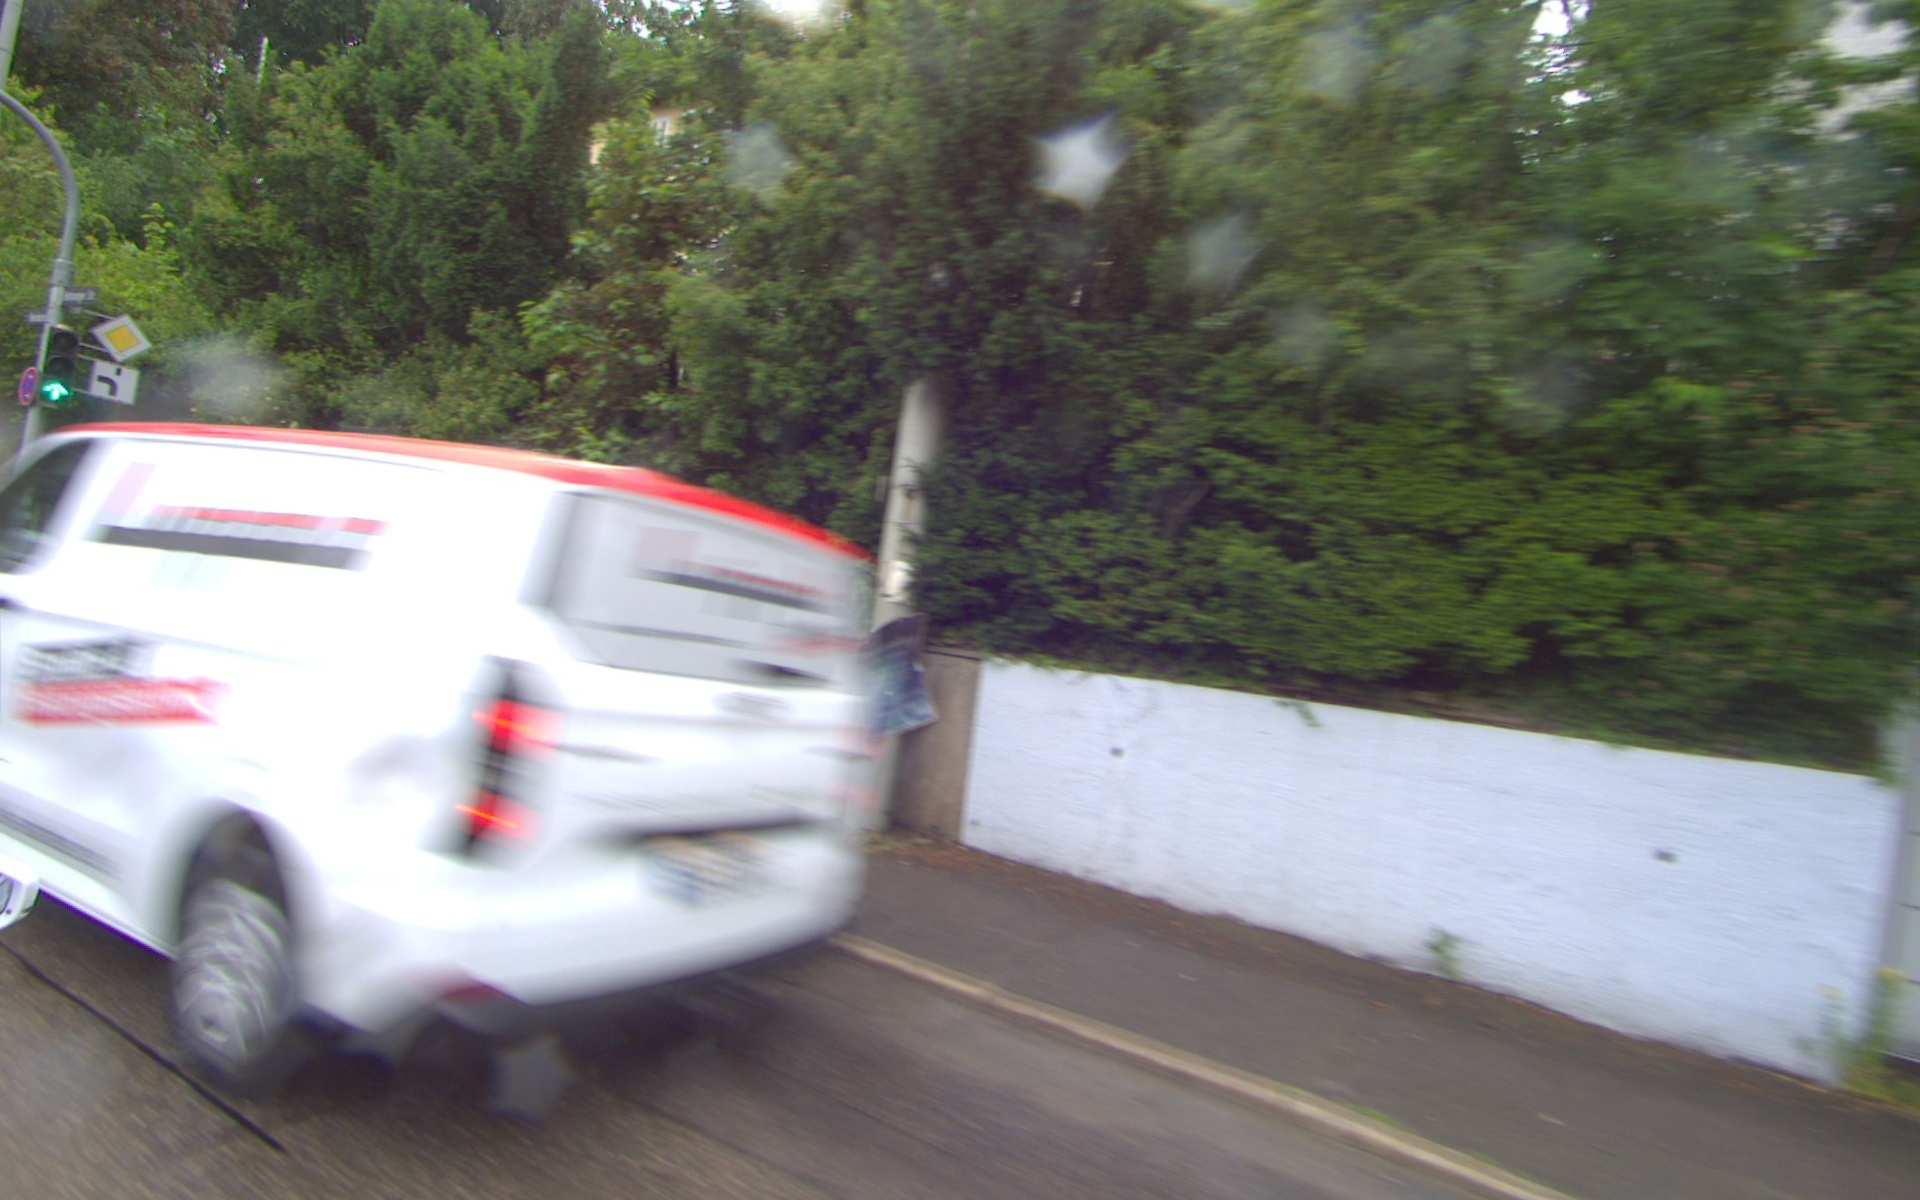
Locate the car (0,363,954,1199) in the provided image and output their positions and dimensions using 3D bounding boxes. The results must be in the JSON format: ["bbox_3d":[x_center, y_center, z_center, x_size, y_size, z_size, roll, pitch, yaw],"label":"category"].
[{"bbox_3d":[-2.705,0.313,4.341,4.731,2.029,2.072,8,-1,29],"label":"car"}]
